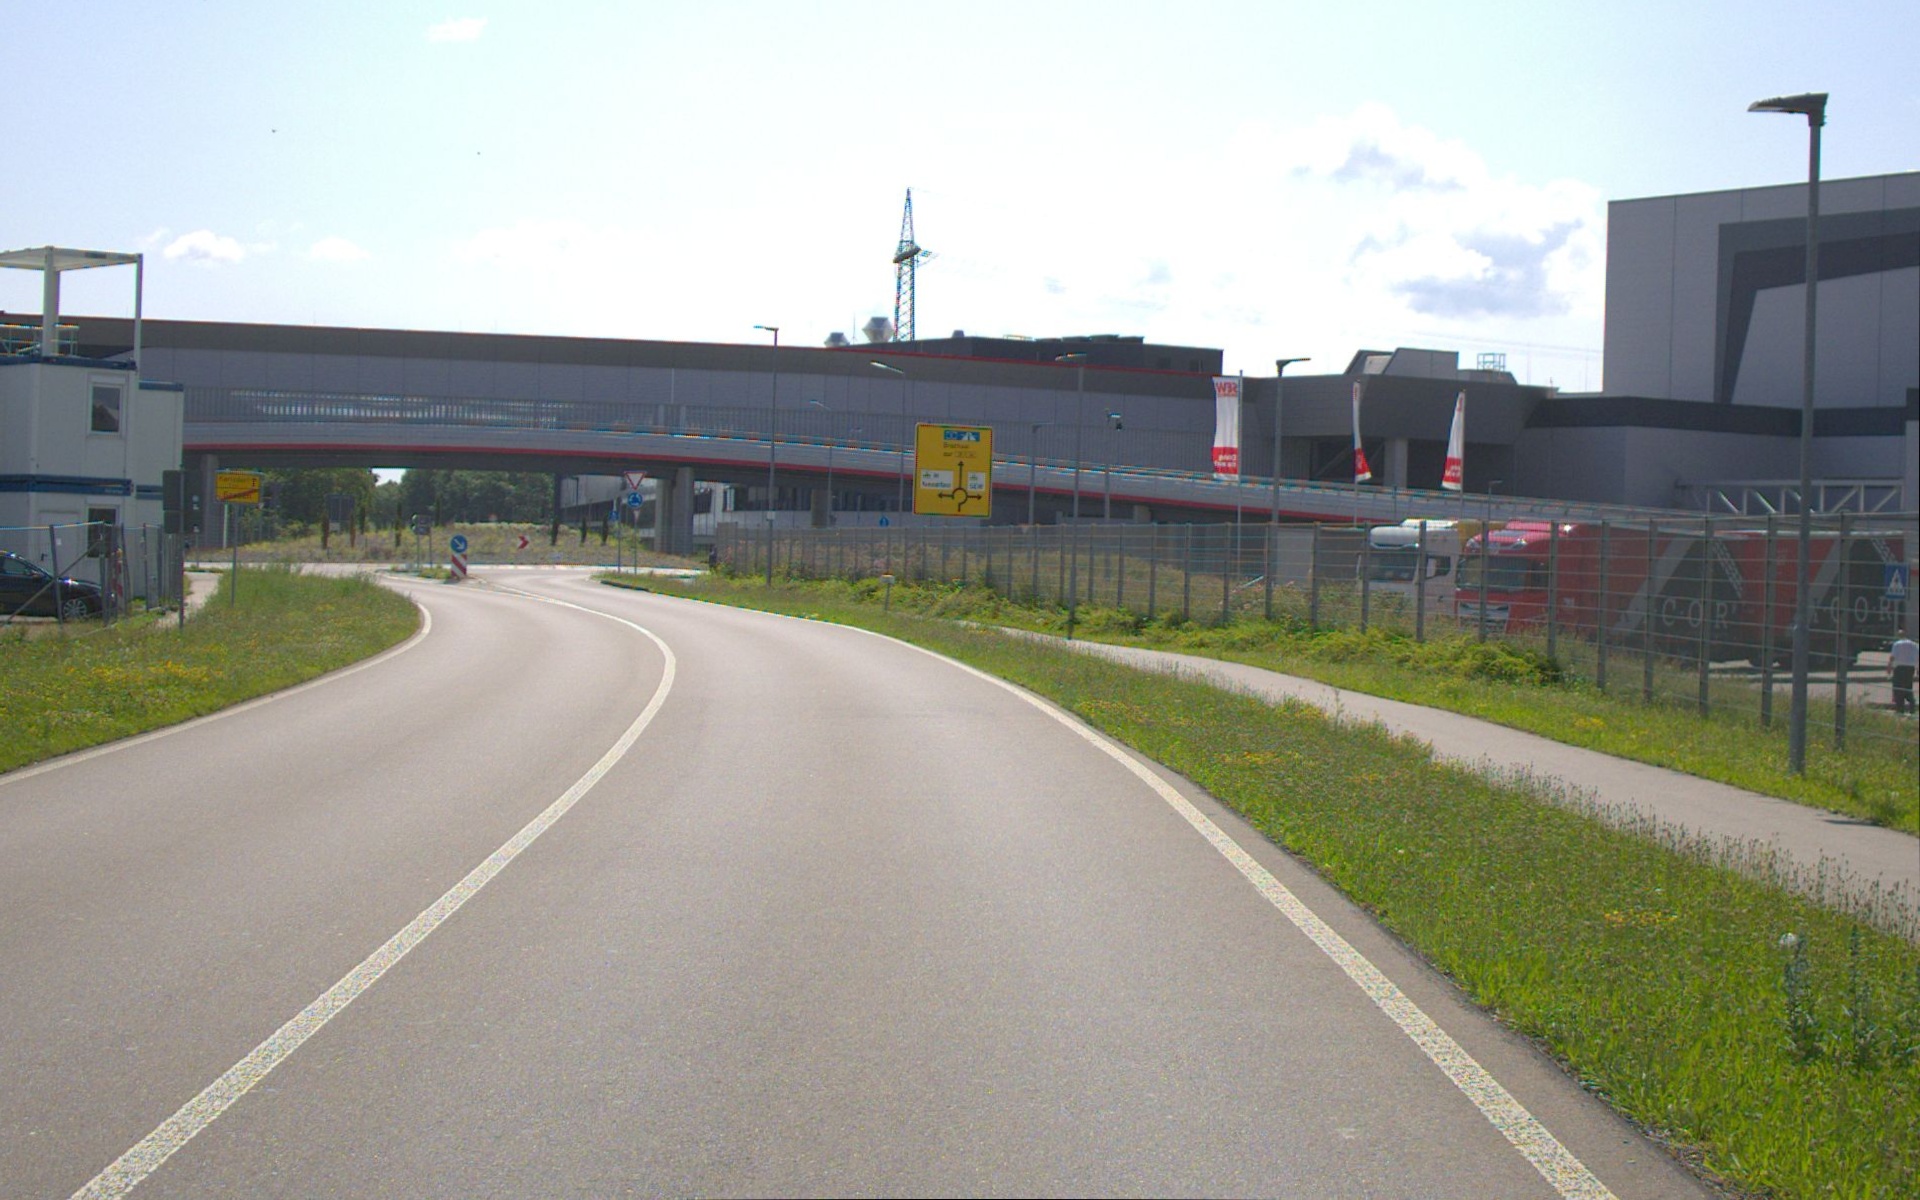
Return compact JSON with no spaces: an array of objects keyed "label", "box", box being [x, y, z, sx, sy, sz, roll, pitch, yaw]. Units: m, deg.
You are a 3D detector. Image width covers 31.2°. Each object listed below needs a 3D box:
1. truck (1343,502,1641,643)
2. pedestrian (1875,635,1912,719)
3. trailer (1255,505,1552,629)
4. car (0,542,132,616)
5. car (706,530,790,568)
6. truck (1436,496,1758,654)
[{"label":"truck","box":[16.536,-0.847,106.121,10.943,4.158,2.821,0,1,-43]},{"label":"pedestrian","box":[18.829,1.547,69.345,0.483,1.647,0.574,2,1,-7]},{"label":"trailer","box":[16.778,-1.202,128.774,14.025,4.423,2.765,0,1,-44]},{"label":"car","box":[-19.383,-0.456,69.438,4.967,1.412,2.001,1,1,-20]},{"label":"car","box":[-8.708,-2.094,141.409,1.995,1.539,3.996,1,1,20]},{"label":"truck","box":[18.120,-0.688,97.098,10.944,4.242,3.027,0,1,-43]}]
